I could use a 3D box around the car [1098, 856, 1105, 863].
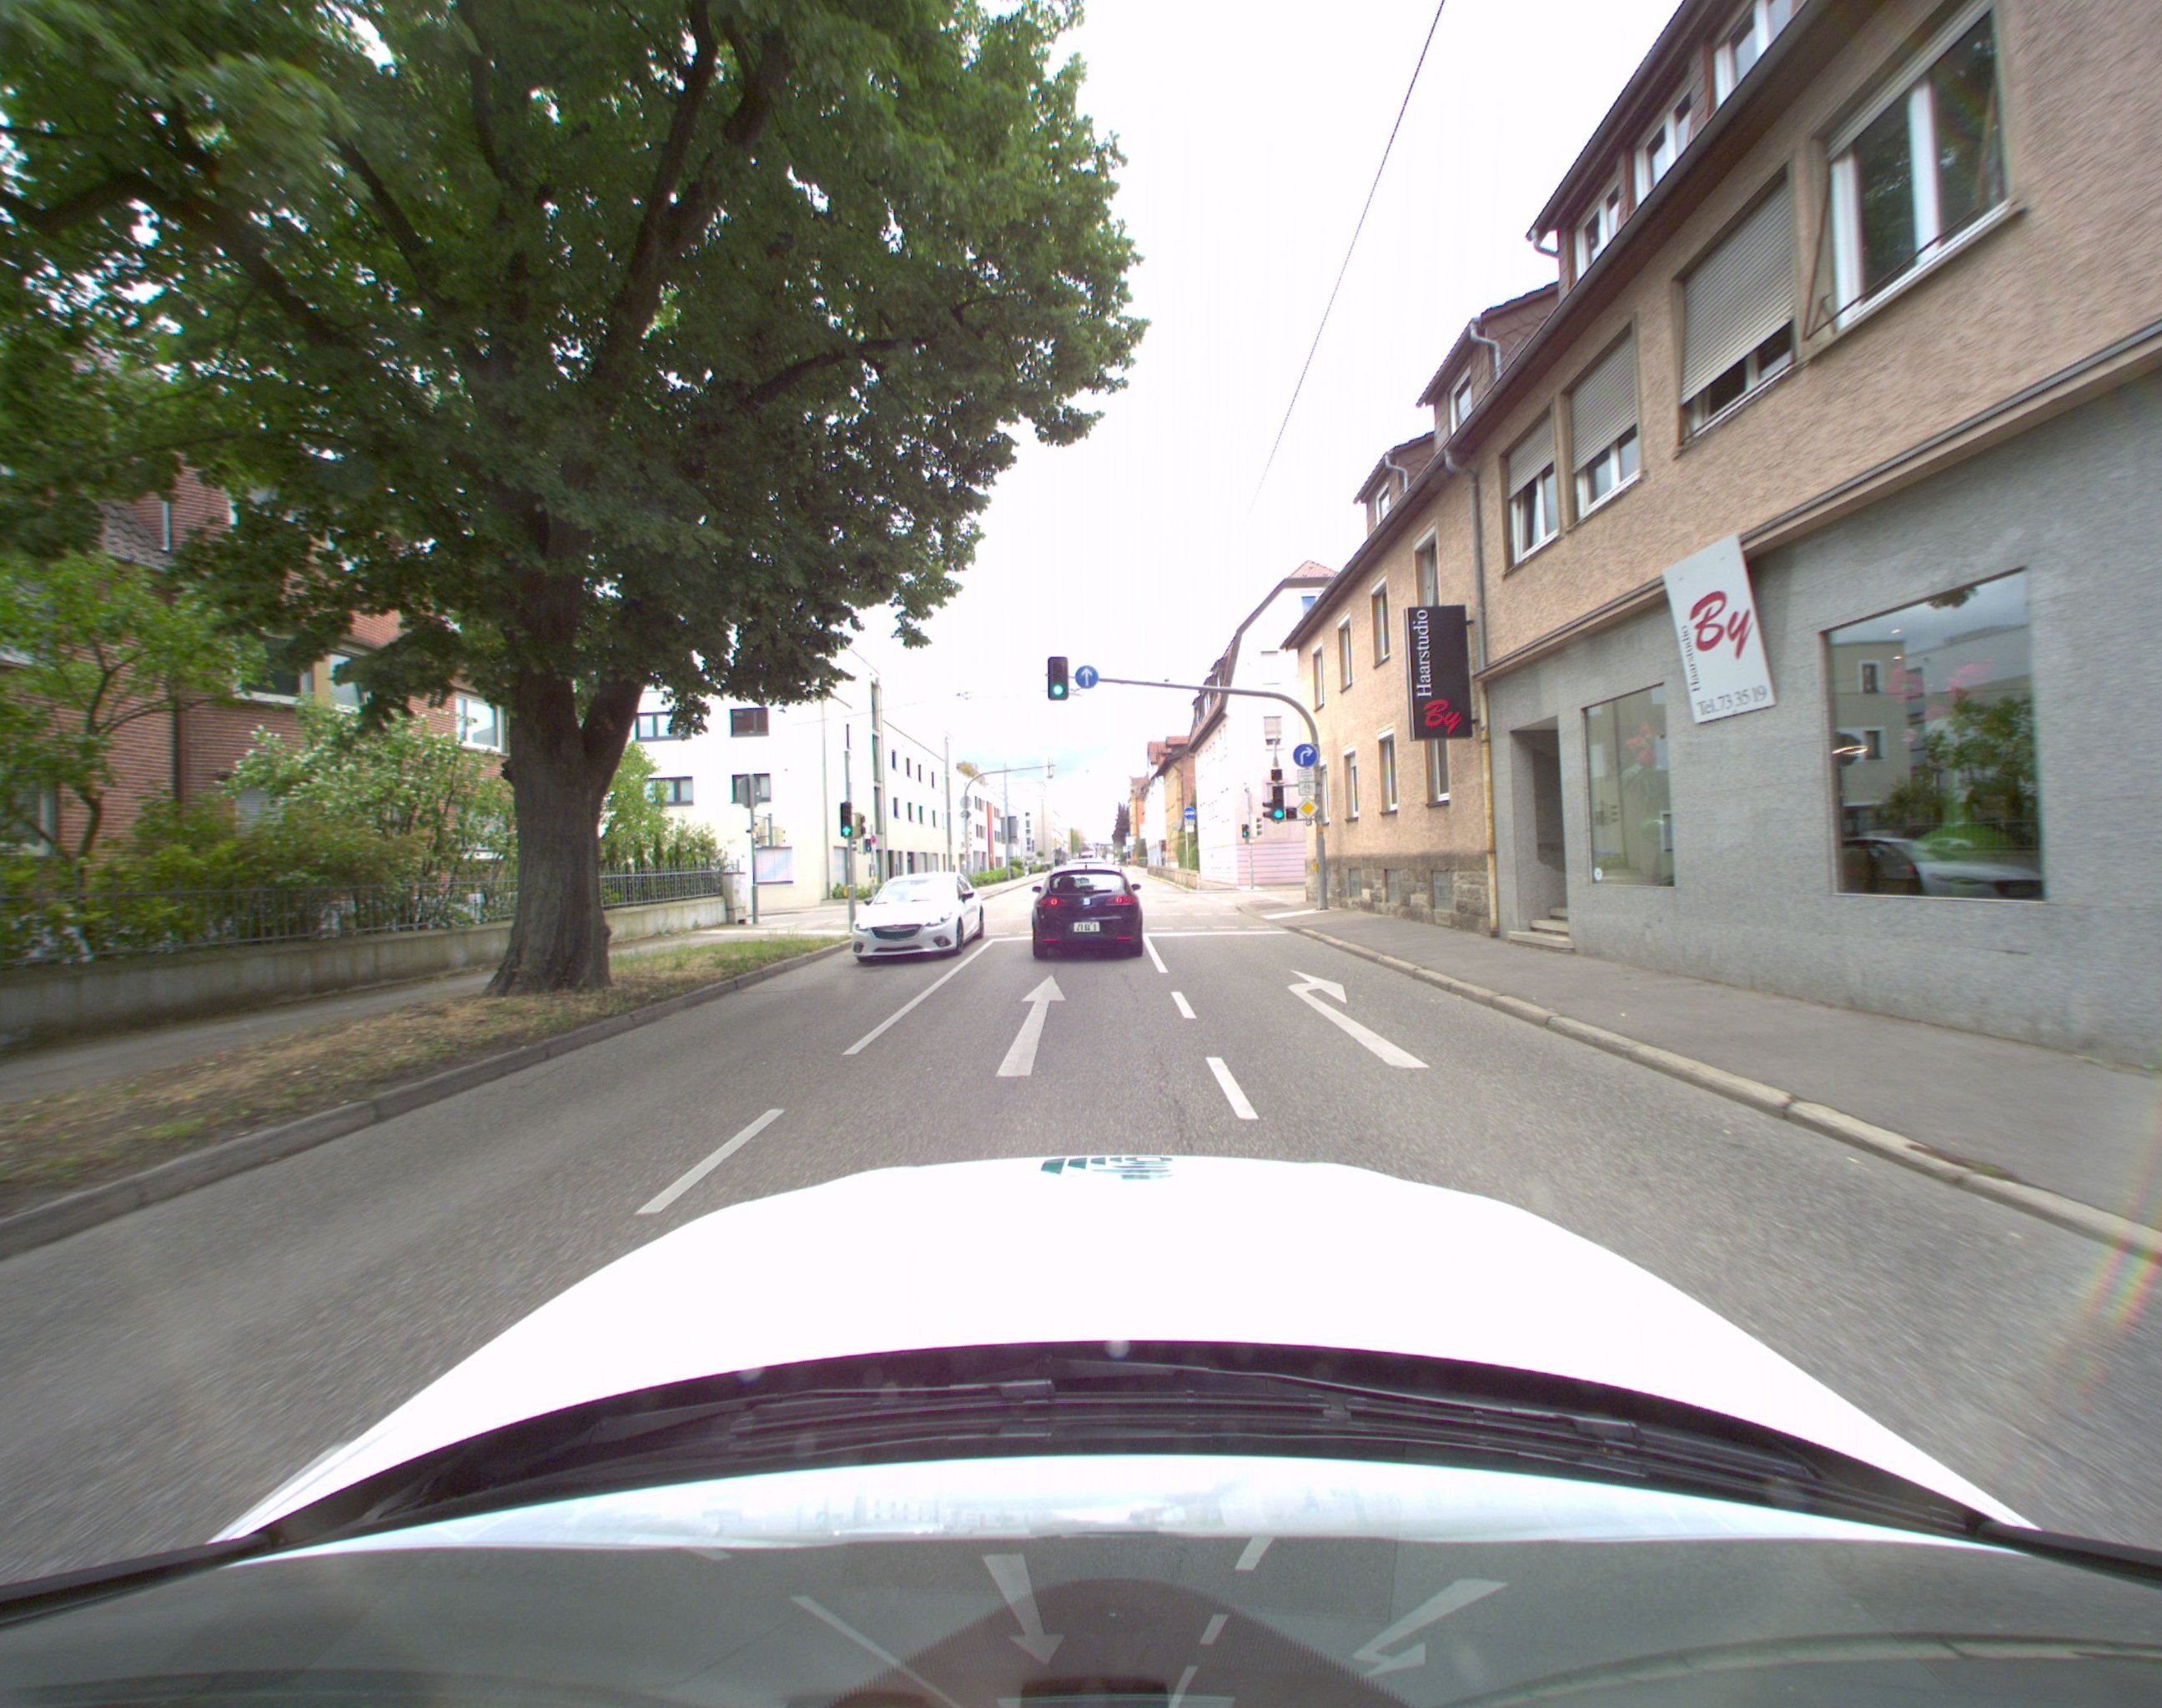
[{"bbox_3d":[5.187,1.400,207.221,1.526,1.693,3.693,-2,0,1],"label":"car"}]

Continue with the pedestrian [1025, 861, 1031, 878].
[{"bbox_3d":[-4.983,1.449,76.518,0.525,1.548,0.541,-1,-1,1],"label":"pedestrian"}]

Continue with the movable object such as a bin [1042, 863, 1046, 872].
[{"bbox_3d":[-4.607,1.725,101.506,0.547,1.078,0.612,-1,-1,2],"label":"movable object such as a bin"}]

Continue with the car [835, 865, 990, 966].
[{"bbox_3d":[-2.914,1.013,15.059,1.760,1.470,4.228,-5,-1,2],"label":"car"}]

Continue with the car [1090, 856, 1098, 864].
[{"bbox_3d":[2.857,1.355,179.252,1.526,1.693,3.693,-2,0,1],"label":"car"}]

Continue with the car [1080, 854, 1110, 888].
[{"bbox_3d":[0.740,0.902,43.848,1.526,1.693,3.693,-1,-1,1],"label":"car"}]

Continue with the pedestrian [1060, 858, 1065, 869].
[{"bbox_3d":[-3.005,1.589,131.825,0.728,1.729,0.859,-1,-1,0],"label":"pedestrian"}]

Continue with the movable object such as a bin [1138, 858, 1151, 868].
[{"bbox_3d":[9.251,1.259,118.339,1.811,1.437,1.994,-1,-1,2],"label":"movable object such as a bin"}]

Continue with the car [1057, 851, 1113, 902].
[{"bbox_3d":[0.166,0.782,29.325,1.836,1.693,4.000,-1,-1,1],"label":"car"}]

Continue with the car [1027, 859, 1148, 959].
[{"bbox_3d":[0.144,0.834,13.956,1.753,1.442,4.001,-1,-1,1],"label":"car"}]

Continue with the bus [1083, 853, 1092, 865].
[{"bbox_3d":[1.693,1.271,210.929,2.202,2.886,8.921,-1,-1,1],"label":"bus"}]
